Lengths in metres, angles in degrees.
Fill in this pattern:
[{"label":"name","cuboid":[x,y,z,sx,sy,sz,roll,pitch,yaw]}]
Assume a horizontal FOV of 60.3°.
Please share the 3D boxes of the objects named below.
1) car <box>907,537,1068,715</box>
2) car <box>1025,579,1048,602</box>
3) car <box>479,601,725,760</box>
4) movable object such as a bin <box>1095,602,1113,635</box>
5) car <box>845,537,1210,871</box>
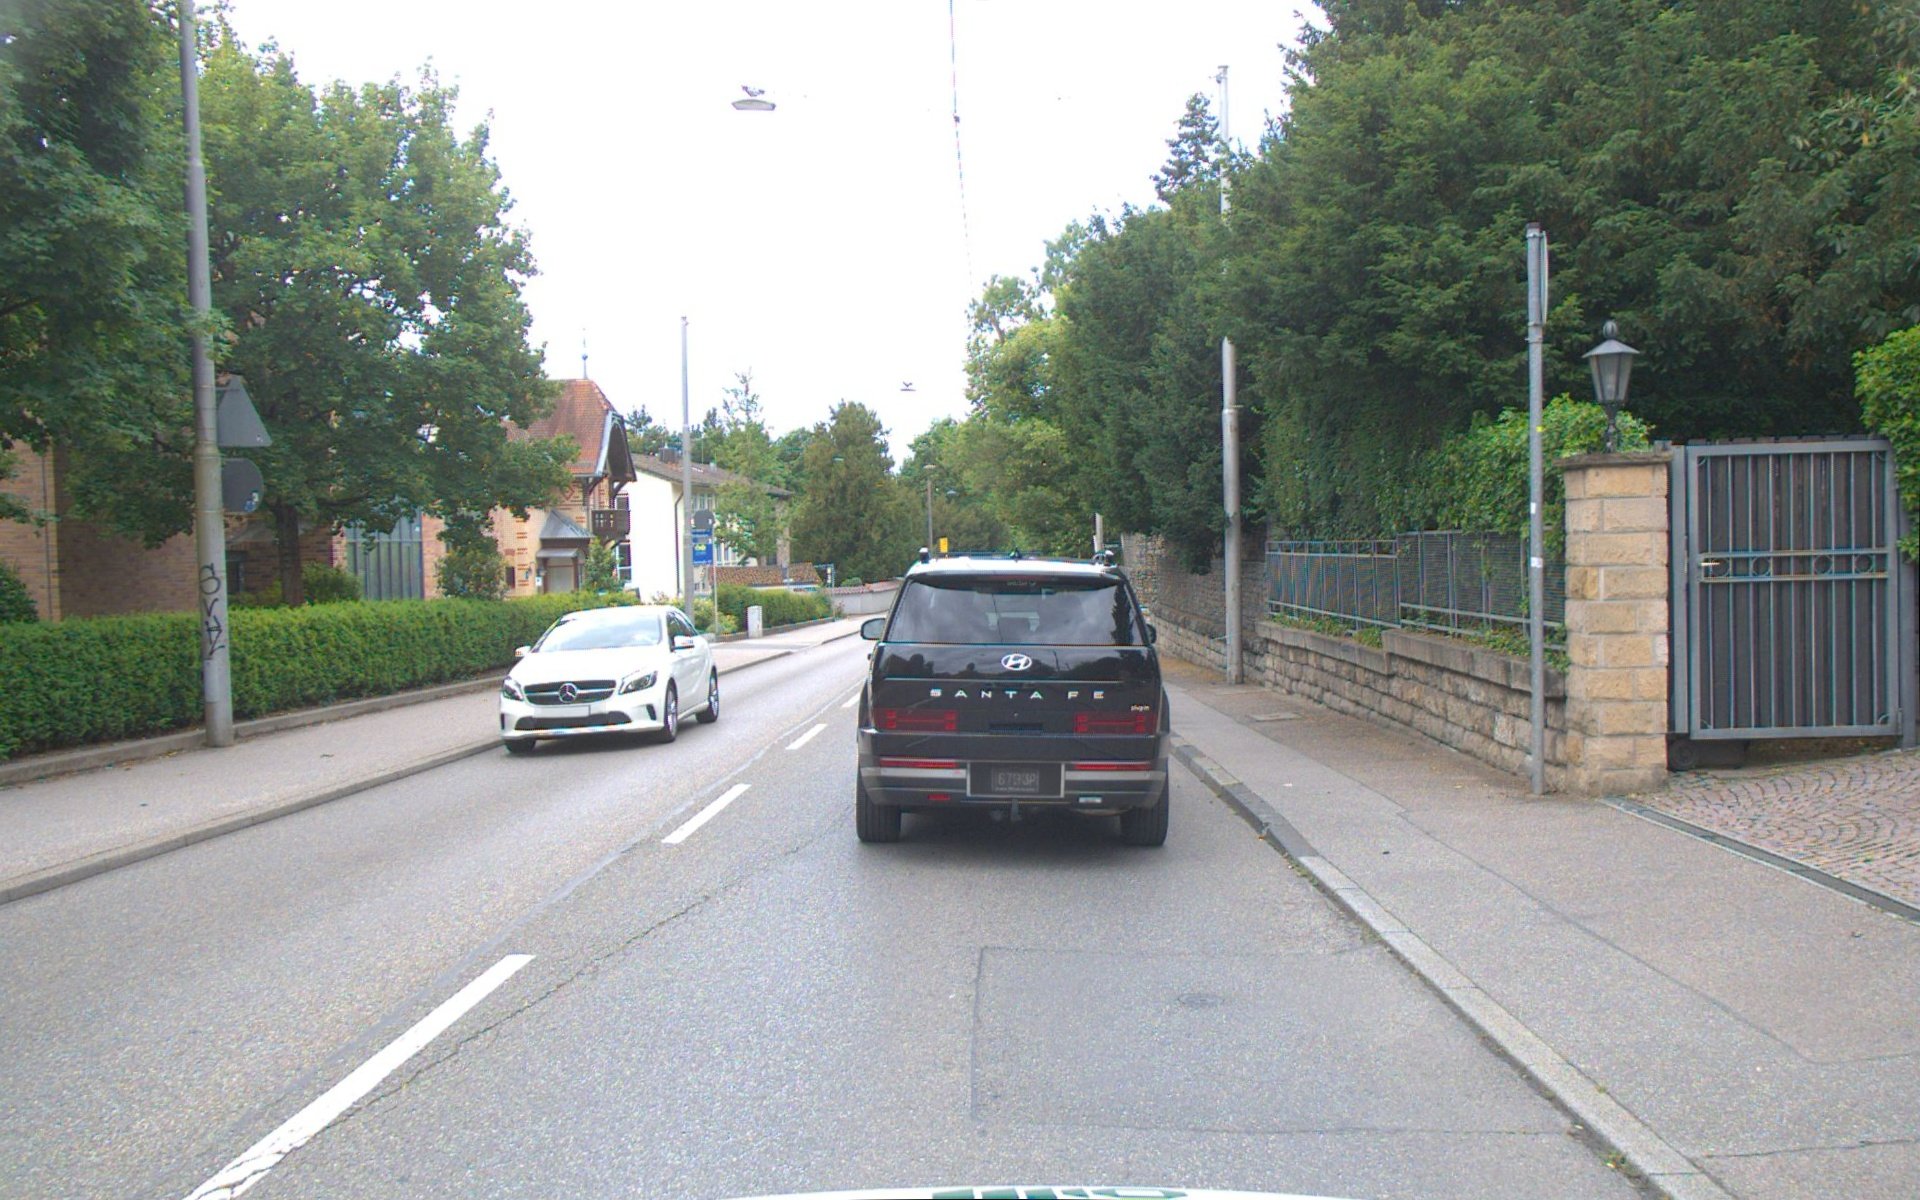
[{"label":"car","cuboid":[0.275,0.247,22.437,1.918,1.989,4.224,2,4,-2]},{"label":"car","cuboid":[5.829,-0.692,126.043,1.610,1.588,3.651,-1,-2,4]},{"label":"car","cuboid":[-3.819,0.794,18.333,1.730,1.446,4.066,-3,0,1]},{"label":"movable object such as a bin","cuboid":[4.149,0.538,47.641,0.435,0.926,0.394,-2,0,10]},{"label":"car","cuboid":[0.407,0.532,10.941,1.916,1.743,4.224,1,1,1]}]
